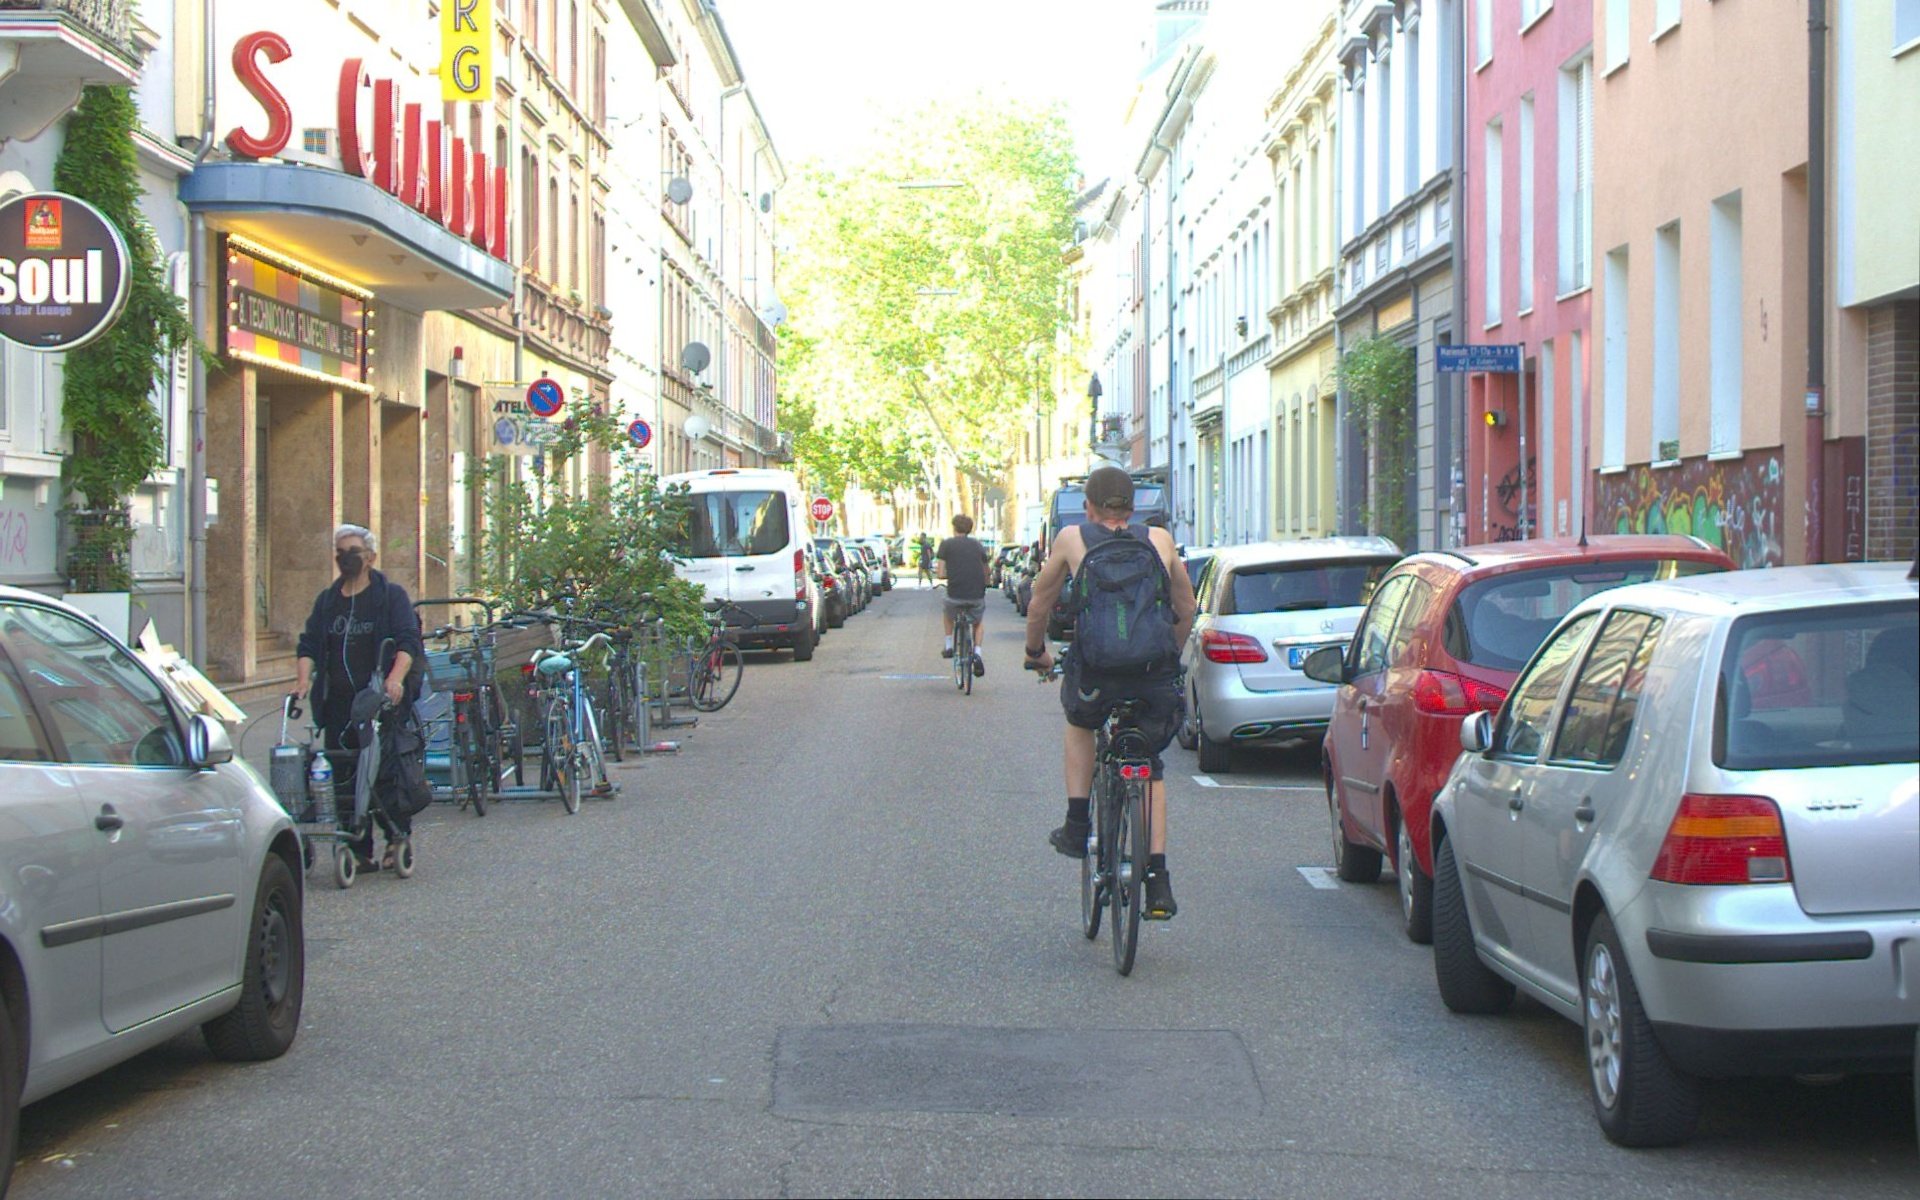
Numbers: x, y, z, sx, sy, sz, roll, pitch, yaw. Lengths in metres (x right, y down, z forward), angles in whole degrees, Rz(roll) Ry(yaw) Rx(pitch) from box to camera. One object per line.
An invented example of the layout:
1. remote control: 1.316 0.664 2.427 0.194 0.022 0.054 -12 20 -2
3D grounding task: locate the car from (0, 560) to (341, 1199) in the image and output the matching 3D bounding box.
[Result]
1. car: -2.910 0.660 8.816 1.681 1.450 4.033 -1 1 3

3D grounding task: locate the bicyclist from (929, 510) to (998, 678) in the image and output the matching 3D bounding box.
1. bicyclist: 0.034 -0.065 34.457 0.669 1.653 0.877 -1 1 0

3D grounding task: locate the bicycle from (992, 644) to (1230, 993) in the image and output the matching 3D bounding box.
1. bicycle: 0.519 0.751 12.618 0.740 1.097 2.042 1 1 -1

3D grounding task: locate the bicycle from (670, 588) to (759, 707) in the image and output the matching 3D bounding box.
1. bicycle: -2.308 0.429 32.187 0.460 1.044 1.751 1 1 -16

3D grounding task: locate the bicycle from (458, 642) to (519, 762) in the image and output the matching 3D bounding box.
1. bicycle: -3.455 0.740 25.236 0.256 0.814 1.299 0 1 0

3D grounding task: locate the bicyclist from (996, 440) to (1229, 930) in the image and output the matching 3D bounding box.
1. bicyclist: 0.533 0.285 12.417 0.740 1.673 1.116 1 1 -1

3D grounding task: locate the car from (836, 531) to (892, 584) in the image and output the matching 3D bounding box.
1. car: -3.191 -1.433 114.623 1.787 1.731 3.876 -1 1 -1

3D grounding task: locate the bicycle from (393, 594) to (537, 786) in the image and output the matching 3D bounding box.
1. bicycle: -3.126 0.559 21.783 0.812 1.171 0.920 0 1 -2

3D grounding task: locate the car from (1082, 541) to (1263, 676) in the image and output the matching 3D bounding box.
1. car: 2.519 0.057 41.714 1.786 1.449 4.547 -3 1 -1

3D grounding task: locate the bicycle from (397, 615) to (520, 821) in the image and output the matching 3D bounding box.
1. bicycle: -2.920 0.664 20.151 0.443 1.102 1.932 1 1 -1

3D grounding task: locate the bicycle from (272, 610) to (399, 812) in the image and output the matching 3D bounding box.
1. bicycle: -3.668 0.630 20.270 0.443 1.102 1.698 1 1 -1

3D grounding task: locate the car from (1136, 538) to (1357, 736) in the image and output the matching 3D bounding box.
1. car: 2.413 0.270 29.654 1.602 1.534 3.450 -3 1 1

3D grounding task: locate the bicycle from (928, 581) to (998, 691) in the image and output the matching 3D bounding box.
1. bicycle: 0.027 0.343 34.442 0.664 1.034 1.959 -1 1 0

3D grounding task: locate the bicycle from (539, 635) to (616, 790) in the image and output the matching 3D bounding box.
1. bicycle: -2.416 0.700 21.783 0.321 0.913 1.290 0 1 1

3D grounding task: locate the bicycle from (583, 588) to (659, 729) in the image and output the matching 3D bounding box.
1. bicycle: -2.814 0.467 28.657 0.546 1.090 1.882 1 1 -4

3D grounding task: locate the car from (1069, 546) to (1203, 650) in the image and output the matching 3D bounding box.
1. car: 2.547 -0.062 50.612 1.747 1.439 4.172 0 1 0

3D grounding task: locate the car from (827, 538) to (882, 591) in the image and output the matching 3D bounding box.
1. car: -3.157 -1.074 102.424 1.544 1.545 3.466 -1 1 -3

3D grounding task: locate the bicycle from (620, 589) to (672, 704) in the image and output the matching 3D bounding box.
1. bicycle: -3.029 0.438 33.255 0.442 1.044 1.865 1 1 -4

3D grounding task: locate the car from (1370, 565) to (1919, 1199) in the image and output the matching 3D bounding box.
1. car: 2.353 0.661 9.999 1.688 1.448 4.194 -2 1 -1

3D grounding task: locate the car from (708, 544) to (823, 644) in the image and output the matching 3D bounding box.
1. car: -2.952 -0.118 52.768 1.645 1.442 3.840 -1 1 -2

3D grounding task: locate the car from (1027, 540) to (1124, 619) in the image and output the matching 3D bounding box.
1. car: 2.263 -0.427 68.164 1.746 1.480 4.243 -1 1 0

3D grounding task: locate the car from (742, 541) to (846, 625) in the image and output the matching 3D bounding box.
1. car: -3.067 -0.351 64.056 1.862 1.435 4.646 -1 2 -2

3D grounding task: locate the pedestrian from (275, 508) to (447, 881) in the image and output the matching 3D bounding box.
1. pedestrian: -2.798 0.429 16.121 0.713 1.702 0.672 1 1 -5

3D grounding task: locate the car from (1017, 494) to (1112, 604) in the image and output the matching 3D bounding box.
1. car: 2.540 -1.244 83.431 2.204 2.542 6.036 -1 1 2

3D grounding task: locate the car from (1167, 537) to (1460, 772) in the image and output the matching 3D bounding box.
1. car: 2.462 0.323 24.838 1.746 1.550 4.171 0 1 1

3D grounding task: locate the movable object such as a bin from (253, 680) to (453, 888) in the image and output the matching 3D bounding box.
1. movable object such as a bin: -2.742 0.829 15.593 0.844 0.894 0.586 1 1 -7

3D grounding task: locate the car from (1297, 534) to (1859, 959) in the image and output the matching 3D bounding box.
1. car: 2.467 0.502 14.629 1.697 1.518 3.980 -1 1 1

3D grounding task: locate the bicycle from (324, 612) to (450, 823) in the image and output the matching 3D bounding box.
1. bicycle: -3.269 0.646 19.712 0.443 1.102 1.874 1 1 -1

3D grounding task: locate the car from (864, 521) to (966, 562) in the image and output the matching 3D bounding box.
1. car: -2.034 -2.632 153.994 4.468 1.753 1.867 -1 1 -4

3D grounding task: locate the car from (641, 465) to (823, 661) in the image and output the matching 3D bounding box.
1. car: -3.022 -0.525 46.705 2.168 2.443 5.922 -2 1 -1

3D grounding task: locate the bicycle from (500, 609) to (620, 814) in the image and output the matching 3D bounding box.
1. bicycle: -2.332 0.626 20.183 0.499 1.102 1.830 1 1 -1

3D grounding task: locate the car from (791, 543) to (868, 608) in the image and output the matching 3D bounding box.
1. car: -3.010 -0.585 80.055 1.592 1.435 3.654 -1 1 1

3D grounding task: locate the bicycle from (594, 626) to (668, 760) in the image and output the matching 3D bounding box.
1. bicycle: -2.388 0.663 25.028 0.390 0.913 1.393 0 1 1

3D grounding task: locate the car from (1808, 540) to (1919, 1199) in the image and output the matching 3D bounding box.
1. car: 2.530 0.691 4.600 1.789 1.546 4.000 0 1 0

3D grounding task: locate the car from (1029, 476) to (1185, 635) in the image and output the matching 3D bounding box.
1. car: 2.356 -0.749 56.834 2.175 2.417 6.310 -2 1 -1

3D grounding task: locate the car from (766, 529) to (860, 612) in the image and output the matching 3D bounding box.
1. car: -3.185 -0.657 75.075 1.801 1.692 4.000 -3 1 0

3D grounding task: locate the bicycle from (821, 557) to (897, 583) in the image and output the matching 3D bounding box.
1. bicycle: -3.639 -1.091 124.081 2.715 0.889 0.619 -1 1 -2

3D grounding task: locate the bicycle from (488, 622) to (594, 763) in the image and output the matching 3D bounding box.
1. bicycle: -2.995 0.649 24.680 0.554 0.941 1.572 0 1 1

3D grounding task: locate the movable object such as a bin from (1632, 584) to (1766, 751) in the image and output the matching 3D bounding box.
1. movable object such as a bin: 4.913 0.442 22.892 0.692 1.054 0.736 -3 1 1
